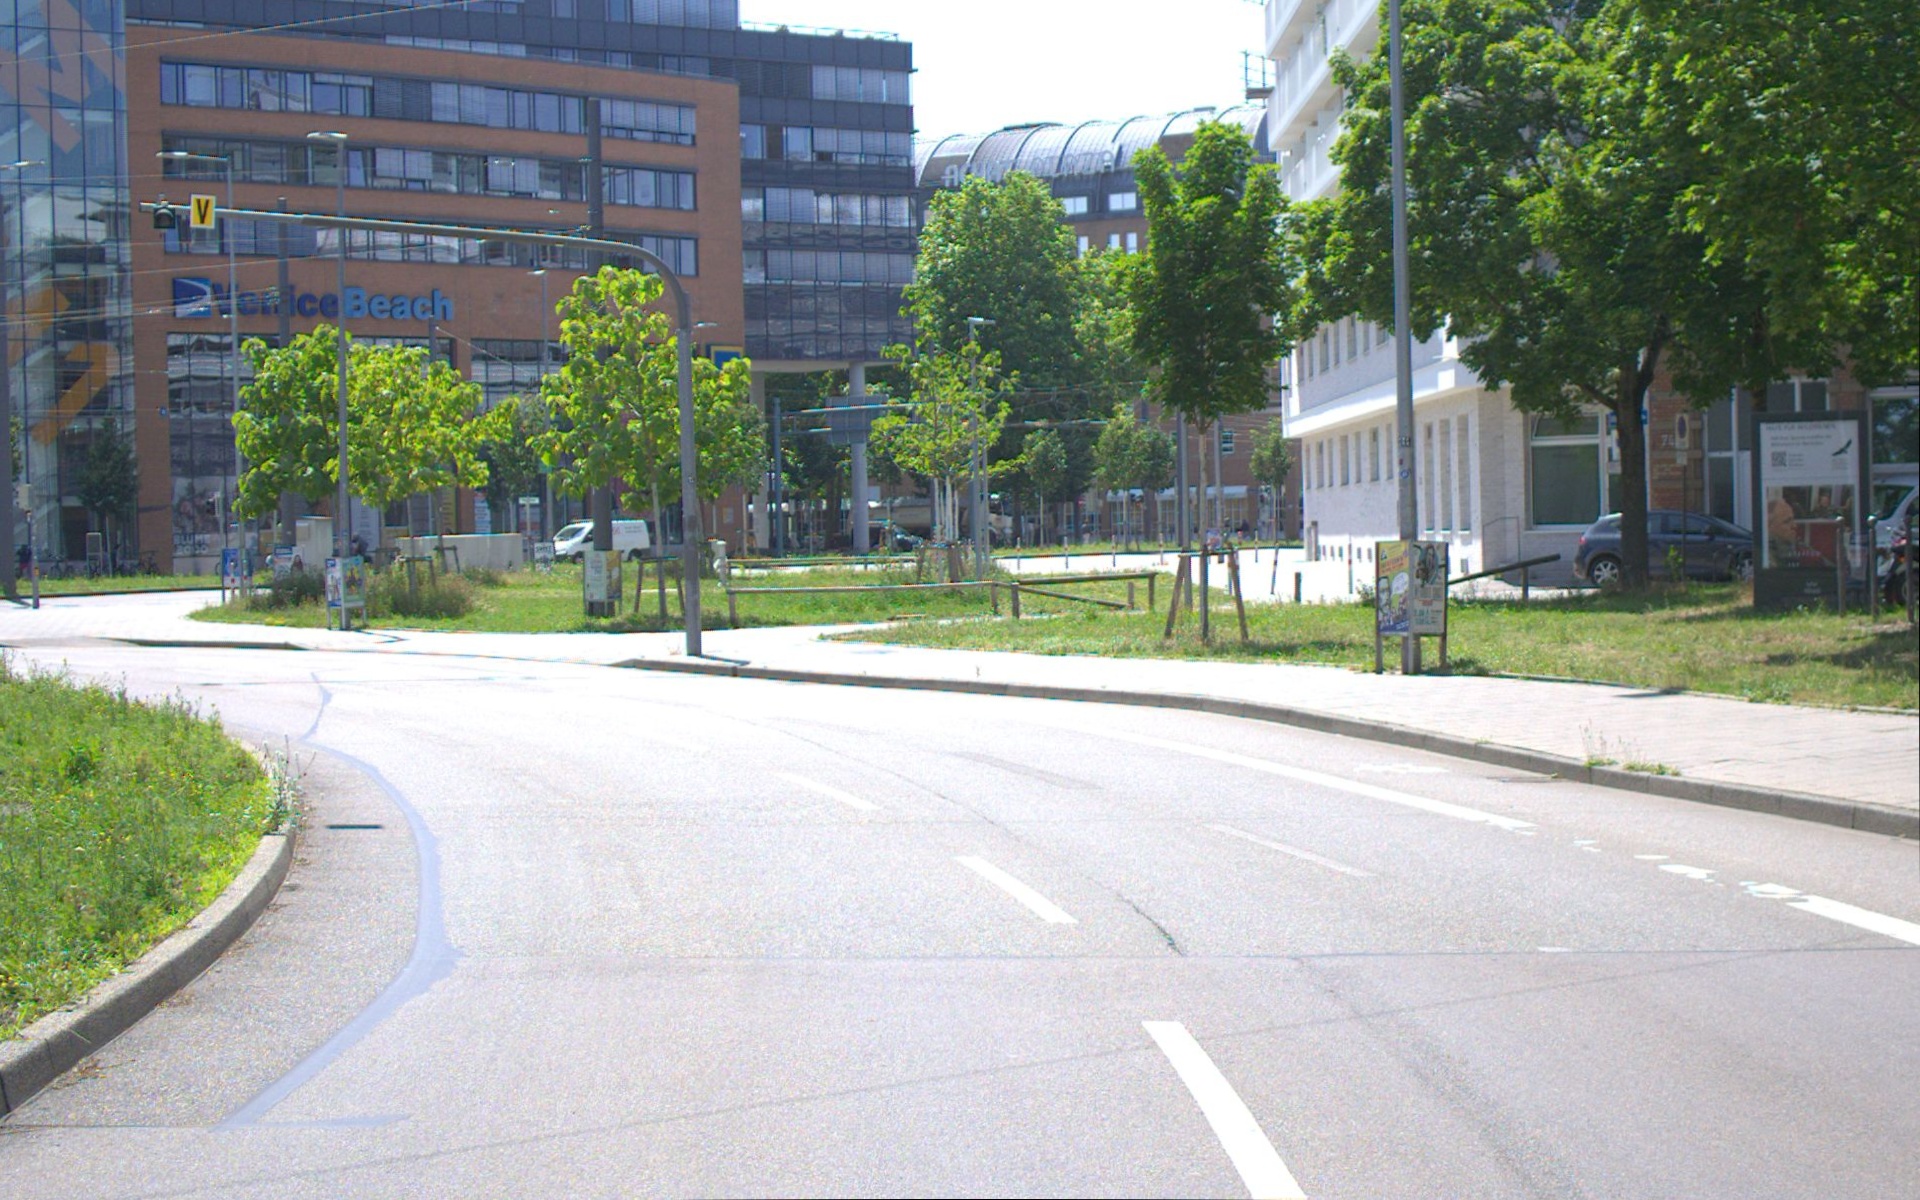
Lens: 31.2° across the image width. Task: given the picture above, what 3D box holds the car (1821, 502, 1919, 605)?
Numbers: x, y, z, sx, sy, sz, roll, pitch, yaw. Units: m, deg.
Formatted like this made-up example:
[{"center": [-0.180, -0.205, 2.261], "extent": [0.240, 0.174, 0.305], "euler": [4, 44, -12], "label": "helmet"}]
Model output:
[{"center": [13.707, -0.629, 46.103], "extent": [3.986, 1.327, 1.759], "euler": [0, 1, -26], "label": "car"}]

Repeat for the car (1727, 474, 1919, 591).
[{"center": [13.373, -0.947, 48.589], "extent": [4.858, 1.595, 1.836], "euler": [0, 1, -26], "label": "car"}]

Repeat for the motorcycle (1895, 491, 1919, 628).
[{"center": [10.205, -0.427, 35.360], "extent": [0.675, 1.408, 1.856], "euler": [-2, 1, 2], "label": "motorcycle"}]

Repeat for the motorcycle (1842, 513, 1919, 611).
[{"center": [11.110, -0.435, 39.477], "extent": [1.821, 1.116, 0.528], "euler": [0, 1, -6], "label": "motorcycle"}]

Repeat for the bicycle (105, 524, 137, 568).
[{"center": [-33.873, -2.181, 138.764], "extent": [0.485, 1.790, 2.259], "euler": [0, 1, -35], "label": "bicycle"}]

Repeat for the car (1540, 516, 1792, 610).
[{"center": [12.702, -0.686, 61.905], "extent": [4.124, 1.619, 1.692], "euler": [1, 1, 30], "label": "car"}]

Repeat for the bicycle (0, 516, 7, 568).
[{"center": [-38.178, -2.290, 135.424], "extent": [0.485, 2.007, 2.346], "euler": [0, 1, -35], "label": "bicycle"}]

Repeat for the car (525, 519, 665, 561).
[{"center": [-14.703, -2.424, 138.699], "extent": [5.465, 1.662, 1.999], "euler": [-1, 1, -42], "label": "car"}]

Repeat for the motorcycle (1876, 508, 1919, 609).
[{"center": [11.066, -0.462, 38.414], "extent": [1.520, 1.116, 0.478], "euler": [0, 1, 0], "label": "motorcycle"}]

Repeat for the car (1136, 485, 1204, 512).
[{"center": [13.536, -6.570, 221.782], "extent": [3.994, 1.722, 1.863], "euler": [1, 1, 31], "label": "car"}]

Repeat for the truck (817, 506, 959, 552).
[{"center": [-4.469, -4.414, 212.801], "extent": [9.227, 2.799, 1.996], "euler": [1, 1, 33], "label": "truck"}]

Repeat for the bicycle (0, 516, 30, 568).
[{"center": [-37.431, -2.298, 135.914], "extent": [0.485, 2.007, 2.346], "euler": [0, 1, -35], "label": "bicycle"}]
